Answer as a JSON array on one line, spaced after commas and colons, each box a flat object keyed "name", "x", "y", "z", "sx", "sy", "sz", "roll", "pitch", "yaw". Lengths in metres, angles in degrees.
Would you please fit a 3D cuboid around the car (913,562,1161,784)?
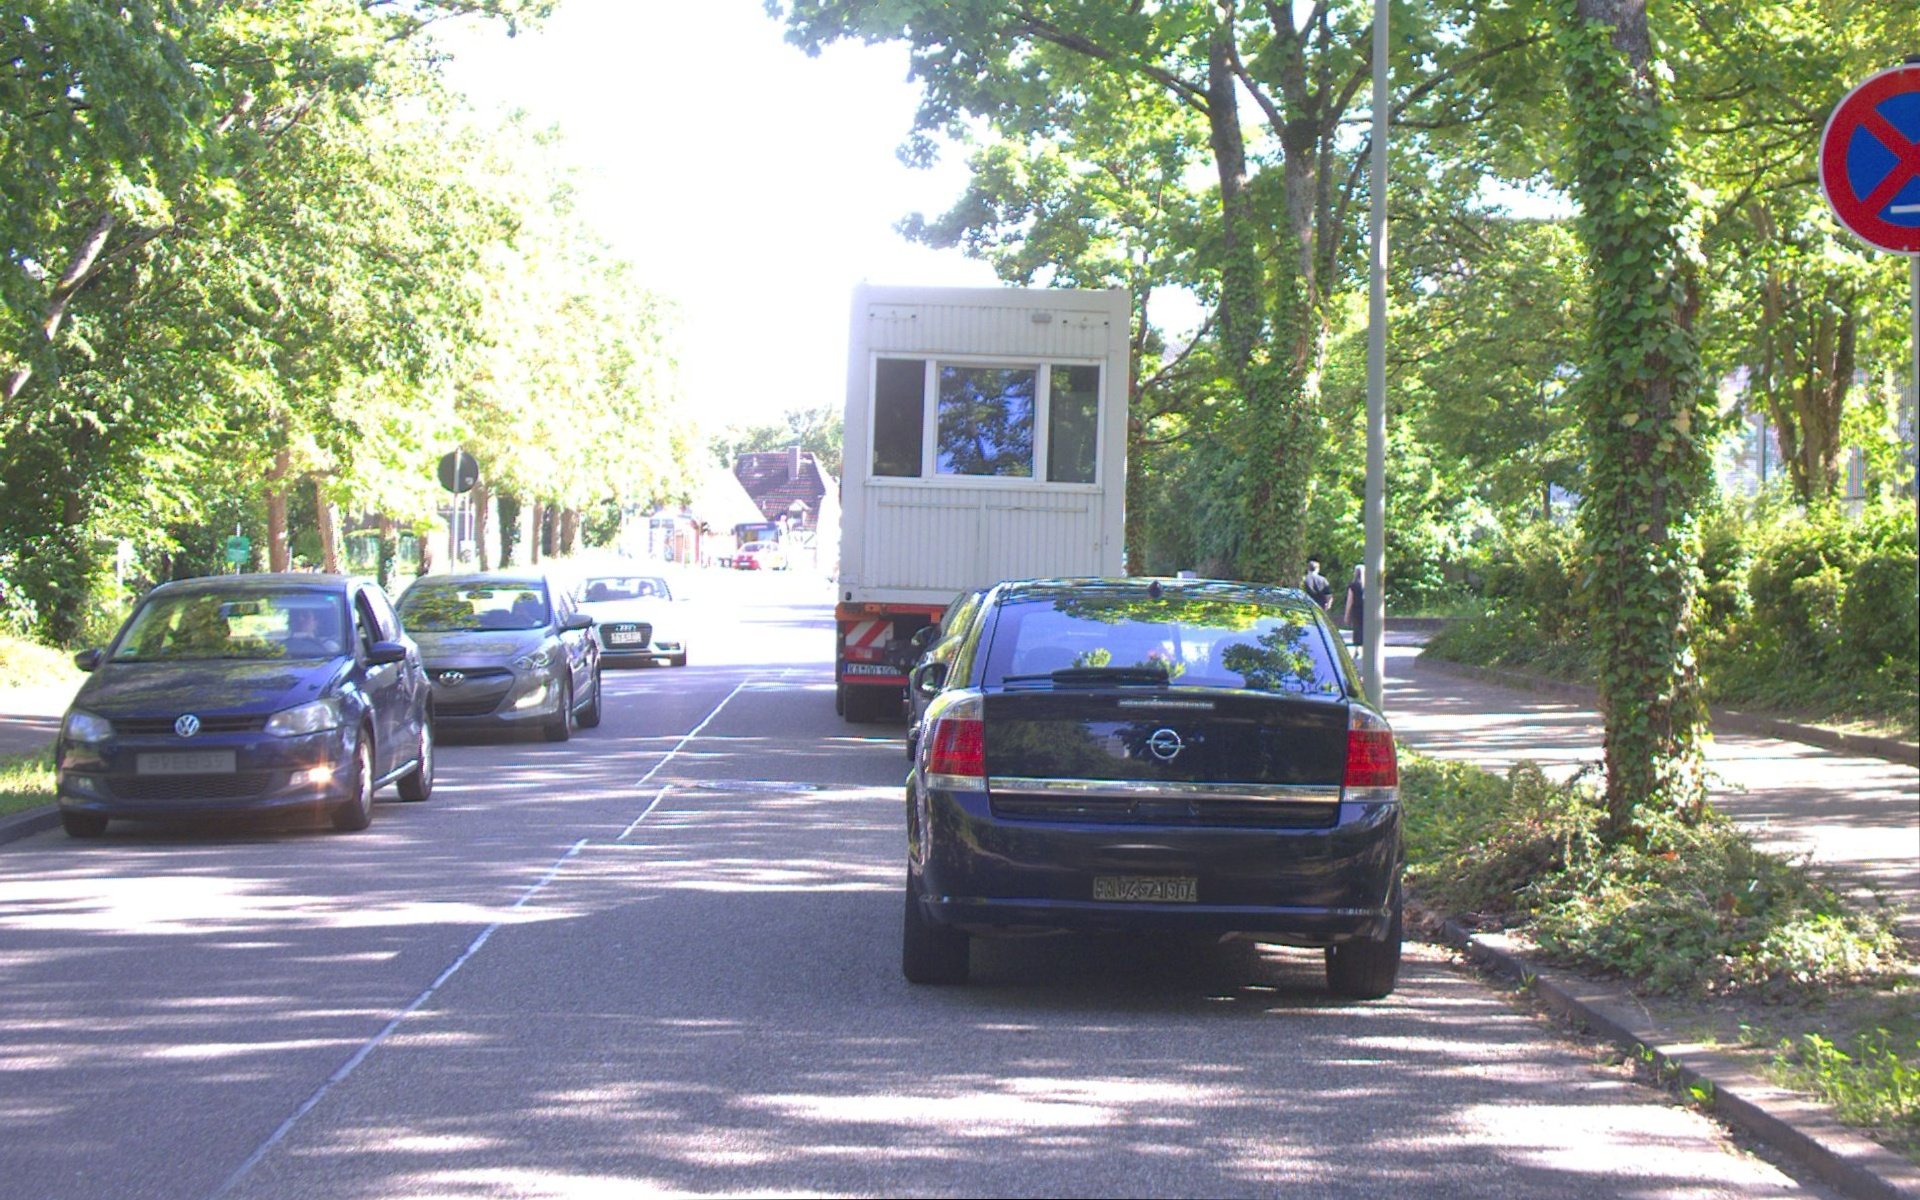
[{"name": "car", "x": 0.535, "y": 0.469, "z": 25.068, "sx": 1.640, "sy": 1.415, "sz": 4.000, "roll": -1, "pitch": 1, "yaw": 1}]

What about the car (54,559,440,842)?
[{"name": "car", "x": -4.022, "y": 0.504, "z": 19.896, "sx": 1.600, "sy": 1.421, "sz": 3.652, "roll": -1, "pitch": 1, "yaw": -3}]

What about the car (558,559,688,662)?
[{"name": "car", "x": -5.038, "y": 0.129, "z": 51.751, "sx": 1.786, "sy": 1.412, "sz": 4.105, "roll": -1, "pitch": 1, "yaw": -4}]

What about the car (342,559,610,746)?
[{"name": "car", "x": -4.168, "y": 0.405, "z": 30.205, "sx": 1.755, "sy": 1.449, "sz": 4.243, "roll": -1, "pitch": 1, "yaw": 0}]

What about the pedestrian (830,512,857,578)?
[{"name": "pedestrian", "x": -3.782, "y": -1.779, "z": 112.021, "sx": 0.752, "sy": 2.106, "sz": 0.799, "roll": 2, "pitch": 1, "yaw": 1}]

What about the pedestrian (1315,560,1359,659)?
[{"name": "pedestrian", "x": 6.164, "y": 0.154, "z": 56.225, "sx": 0.598, "sy": 1.605, "sz": 0.600, "roll": -1, "pitch": 1, "yaw": -4}]

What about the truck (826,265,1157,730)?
[{"name": "truck", "x": 0.086, "y": -1.000, "z": 35.300, "sx": 2.772, "sy": 3.982, "sz": 10.350, "roll": 2, "pitch": 1, "yaw": -2}]

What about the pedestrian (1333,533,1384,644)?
[{"name": "pedestrian", "x": 6.530, "y": -0.197, "z": 56.321, "sx": 0.698, "sy": 1.806, "sz": 0.700, "roll": -1, "pitch": 1, "yaw": -4}]

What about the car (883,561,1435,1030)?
[{"name": "car", "x": 0.652, "y": 0.614, "z": 13.144, "sx": 1.748, "sy": 1.475, "sz": 4.030, "roll": 1, "pitch": 0, "yaw": 0}]
